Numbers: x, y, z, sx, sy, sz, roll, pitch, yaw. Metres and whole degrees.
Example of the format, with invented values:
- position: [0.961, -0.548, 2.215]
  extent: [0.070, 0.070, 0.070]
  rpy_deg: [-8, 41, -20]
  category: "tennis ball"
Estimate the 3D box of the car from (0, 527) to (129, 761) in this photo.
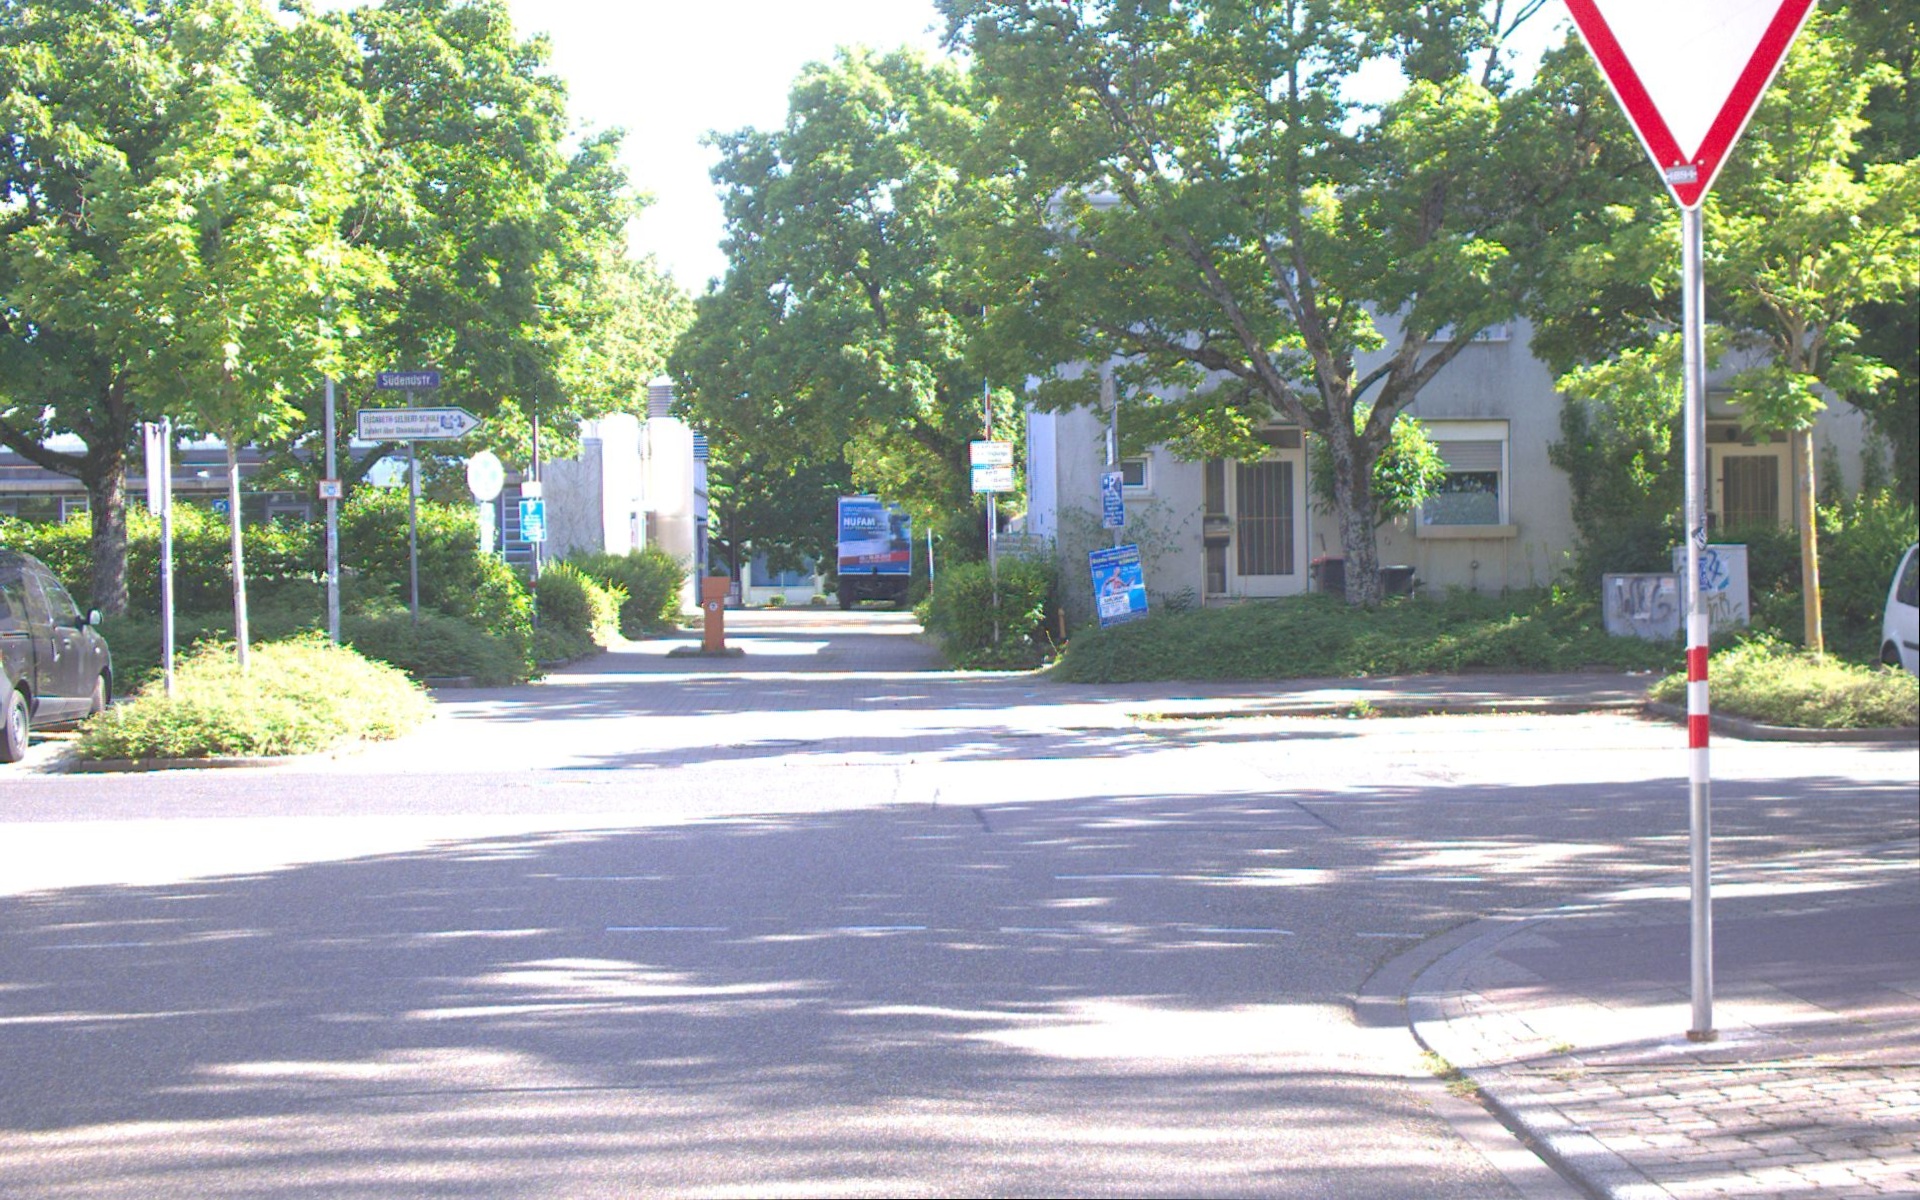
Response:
- position: [-8.685, 0.331, 30.065]
  extent: [1.874, 1.840, 4.169]
  rpy_deg: [-1, 2, -1]
  category: "car"

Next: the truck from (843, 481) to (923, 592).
- position: [-2.757, -2.306, 124.814]
  extent: [2.760, 3.856, 9.330]
  rpy_deg: [0, 1, -1]
  category: "truck"

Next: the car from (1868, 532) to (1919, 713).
- position: [9.525, 0.216, 30.156]
  extent: [1.823, 1.592, 4.169]
  rpy_deg: [-1, 2, -3]
  category: "car"

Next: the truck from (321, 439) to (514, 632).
- position: [-11.127, -1.325, 71.135]
  extent: [2.802, 3.793, 6.924]
  rpy_deg: [0, 1, 1]
  category: "truck"
